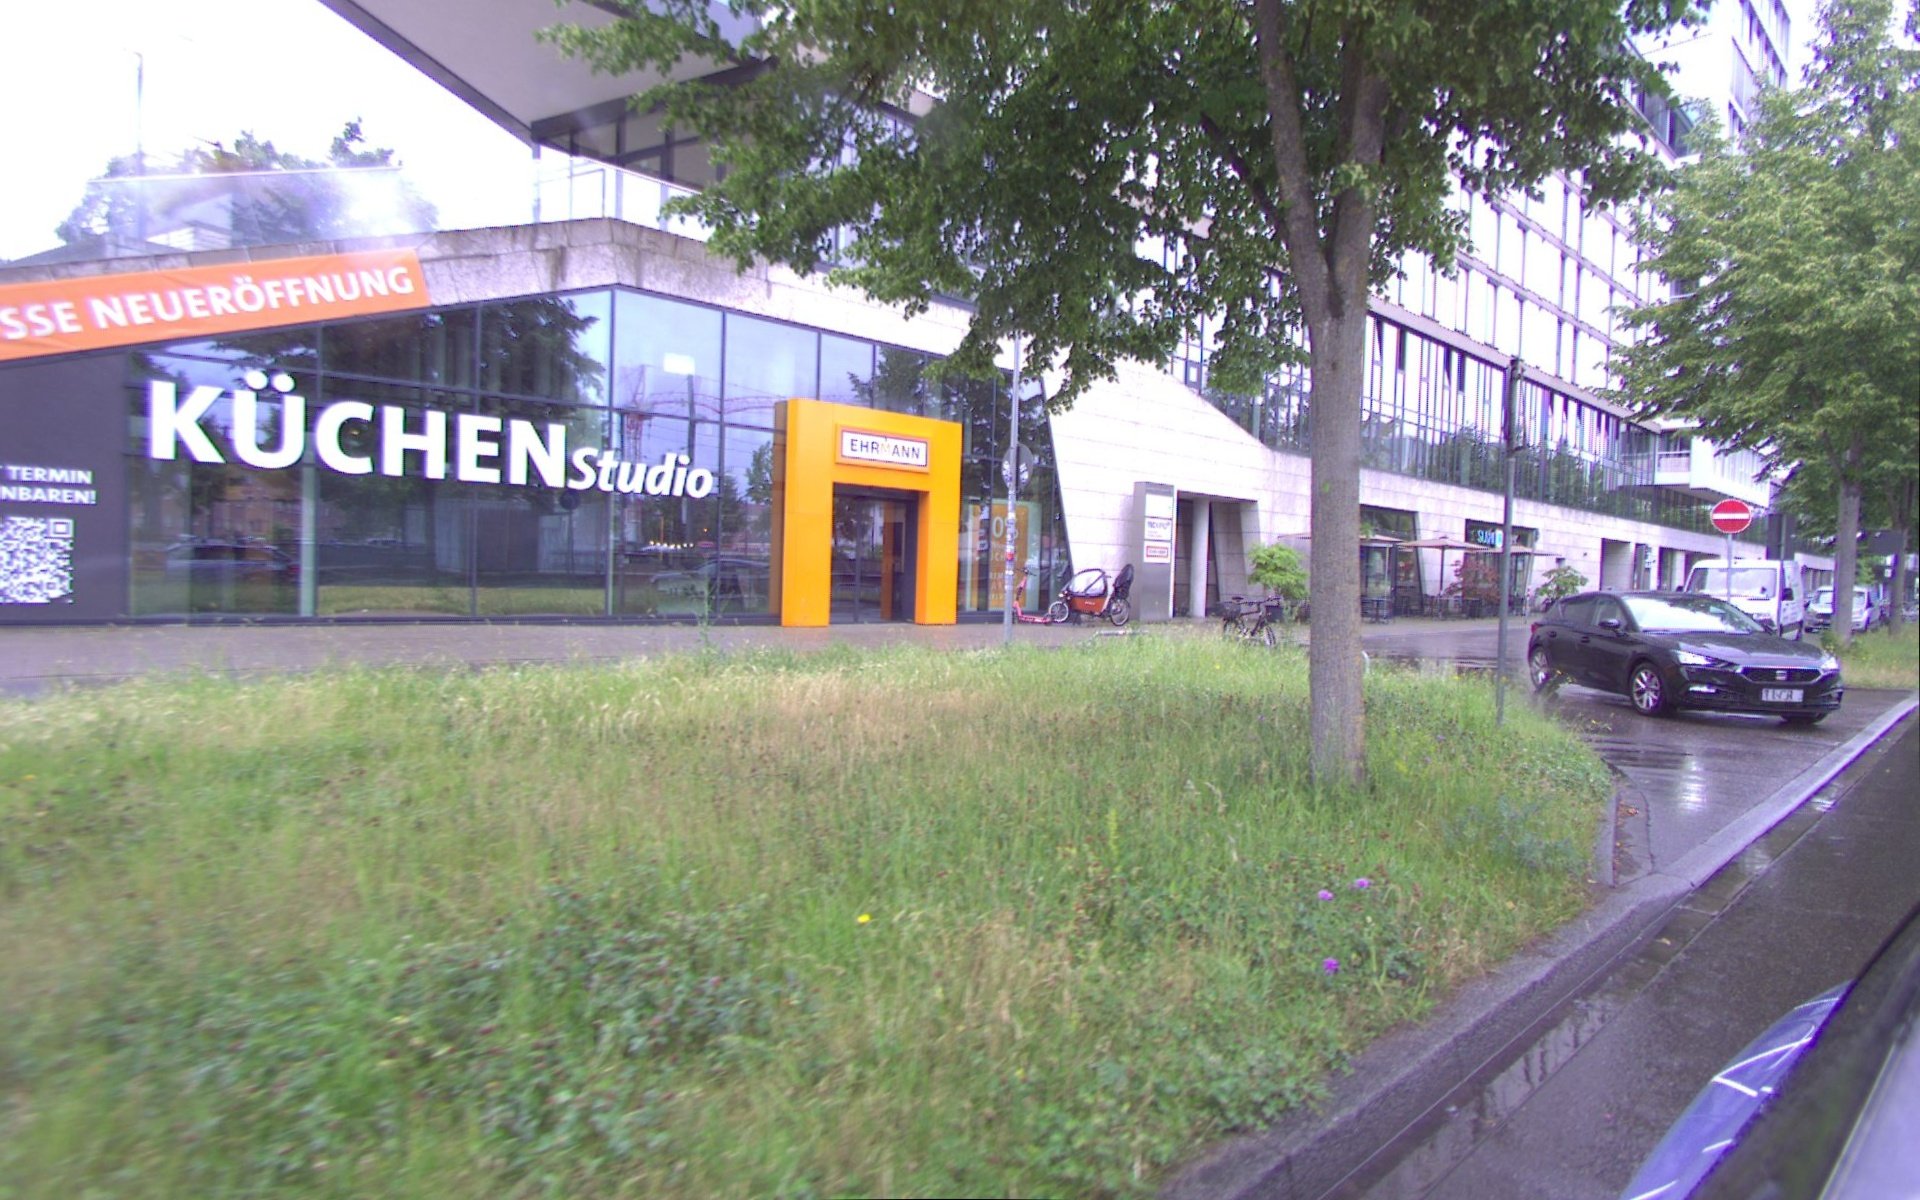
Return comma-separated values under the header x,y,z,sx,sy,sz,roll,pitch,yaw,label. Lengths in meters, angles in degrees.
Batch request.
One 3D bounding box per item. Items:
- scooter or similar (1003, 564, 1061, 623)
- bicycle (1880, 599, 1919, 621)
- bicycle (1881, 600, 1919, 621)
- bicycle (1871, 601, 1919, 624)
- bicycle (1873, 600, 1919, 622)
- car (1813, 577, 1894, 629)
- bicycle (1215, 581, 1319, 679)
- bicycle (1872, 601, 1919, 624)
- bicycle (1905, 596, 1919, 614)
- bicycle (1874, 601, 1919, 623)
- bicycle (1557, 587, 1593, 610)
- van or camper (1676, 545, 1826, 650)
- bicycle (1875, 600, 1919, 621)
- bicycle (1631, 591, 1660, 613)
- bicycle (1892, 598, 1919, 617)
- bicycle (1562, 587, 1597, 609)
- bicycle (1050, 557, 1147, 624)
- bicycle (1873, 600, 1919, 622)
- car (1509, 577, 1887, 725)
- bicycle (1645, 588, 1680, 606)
x,y,z,sx,sy,sz,roll,pitch,yaw,label
1.570,-0.149,21.977,1.214,1.243,0.343,-1,0,-22,scooter or similar
43.756,0.459,46.607,0.389,0.958,2.035,0,0,-45,bicycle
43.451,0.464,46.229,0.389,0.958,2.002,0,0,-45,bicycle
40.689,0.524,43.922,0.389,0.958,1.662,0,0,-45,bicycle
42.539,0.480,45.747,0.389,0.958,1.857,0,0,-45,bicycle
33.186,0.076,37.546,4.766,1.781,1.744,-1,2,-43,car
4.544,0.409,15.103,0.521,1.363,1.852,2,0,-16,bicycle
41.203,0.539,44.445,0.389,0.958,1.694,0,0,-45,bicycle
50.767,0.270,52.870,0.511,0.958,2.035,-1,0,-45,bicycle
41.689,0.526,44.914,0.389,0.958,1.645,0,0,-45,bicycle
26.358,-0.082,43.416,0.388,0.958,2.028,0,0,3,bicycle
19.646,-0.110,25.034,5.367,2.320,2.028,-1,2,-43,van or camper
42.960,0.471,46.107,0.389,0.958,1.878,0,0,-45,bicycle
29.994,0.084,44.274,1.823,0.957,0.403,0,1,-34,bicycle
48.189,0.379,50.787,0.532,0.958,2.035,-1,0,-45,bicycle
27.000,-0.094,44.160,0.388,0.958,2.028,0,0,3,bicycle
3.174,-0.207,23.000,2.382,1.419,0.734,1,3,-41,bicycle
42.073,0.490,45.266,0.389,0.958,1.788,0,0,-45,bicycle
8.675,0.464,12.476,1.801,1.437,4.339,1,2,6,car
39.364,-0.181,56.715,0.339,0.957,1.665,1,3,-23,bicycle
